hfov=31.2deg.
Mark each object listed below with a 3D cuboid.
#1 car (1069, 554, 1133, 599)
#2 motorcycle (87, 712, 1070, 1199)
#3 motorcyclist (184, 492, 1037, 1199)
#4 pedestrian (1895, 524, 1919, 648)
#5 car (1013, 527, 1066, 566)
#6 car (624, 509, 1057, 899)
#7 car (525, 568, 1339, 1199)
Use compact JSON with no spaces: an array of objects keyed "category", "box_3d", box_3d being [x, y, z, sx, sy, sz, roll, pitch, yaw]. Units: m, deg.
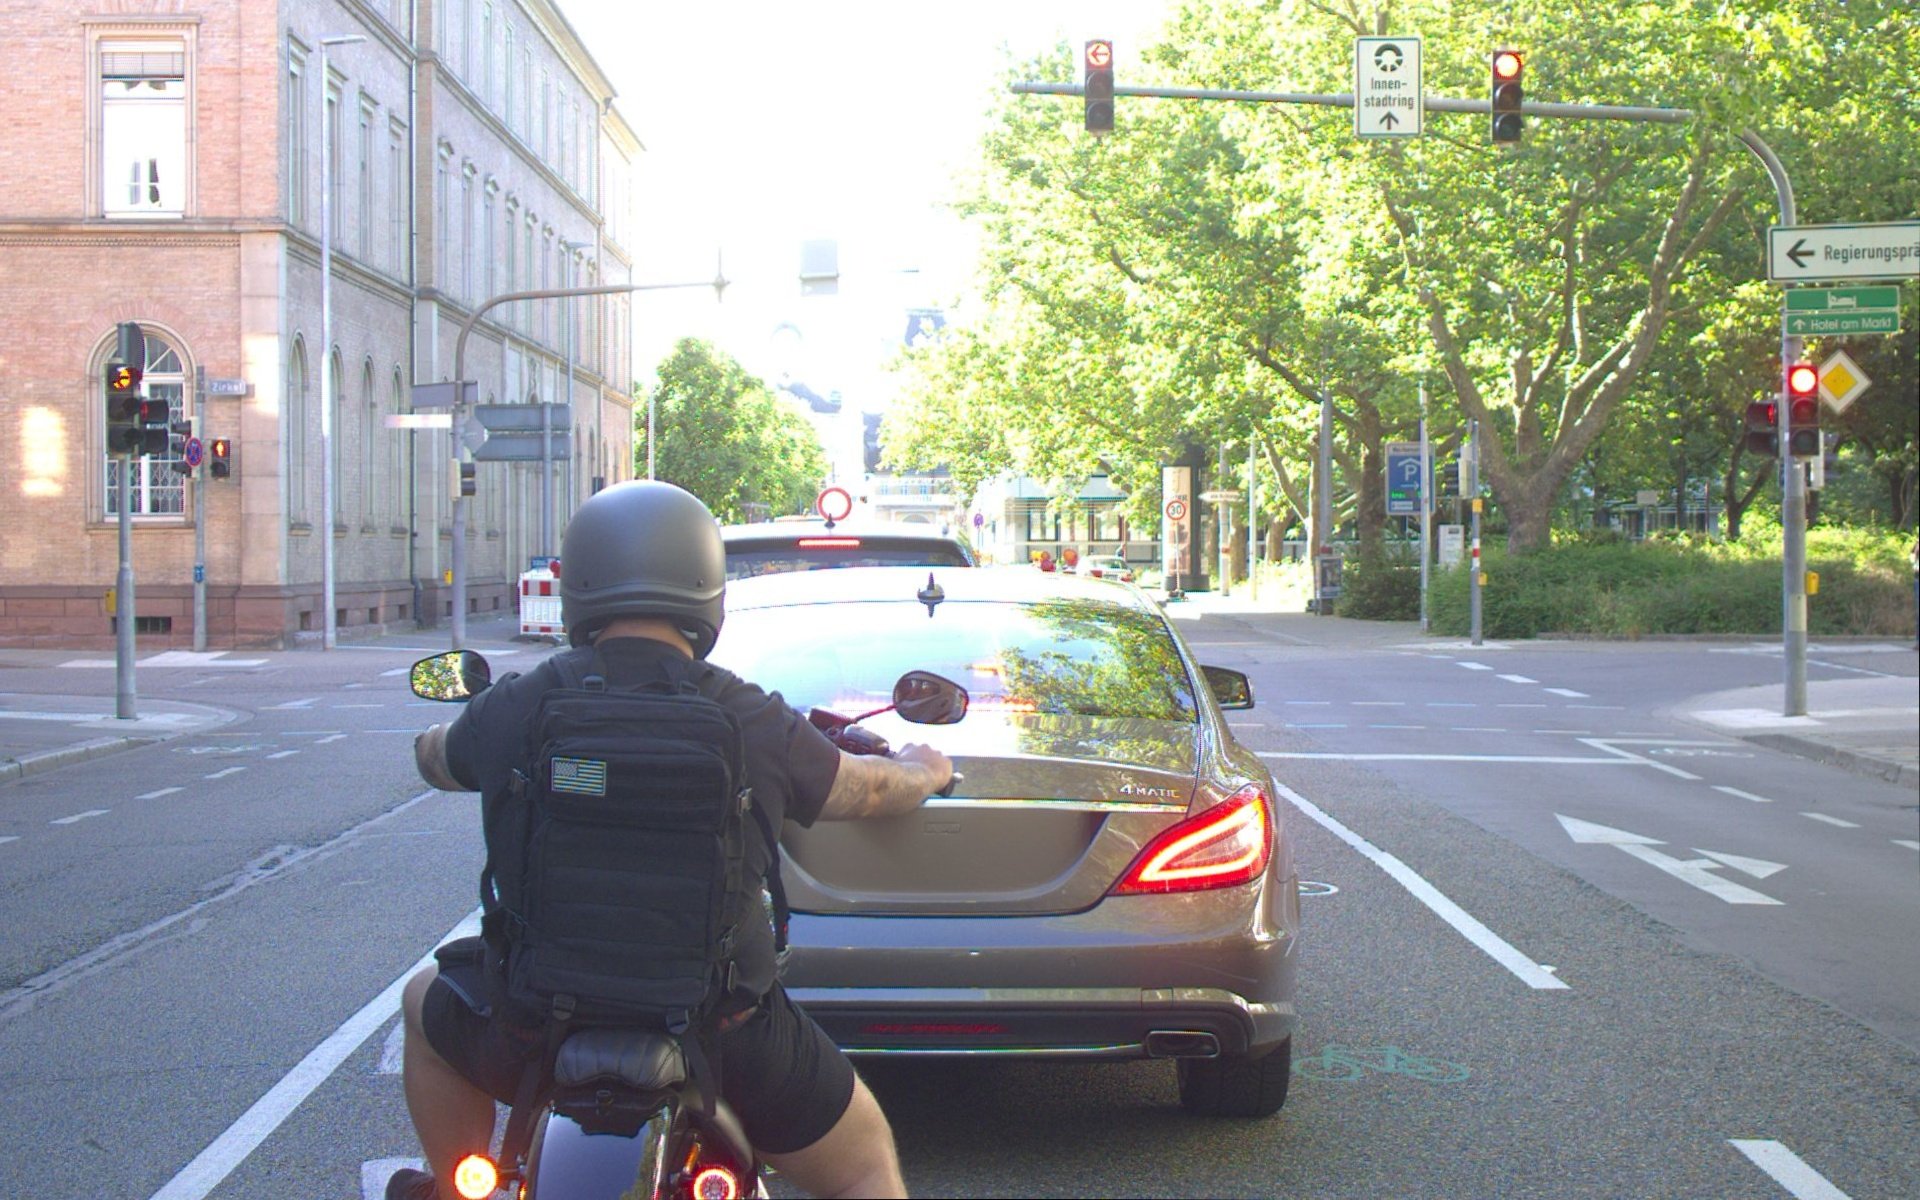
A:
[{"category":"car","box_3d":[4.060,-0.699,99.575,1.631,1.255,3.716,1,1,-1]},{"category":"motorcycle","box_3d":[-0.468,0.836,5.510,1.118,1.203,2.212,1,1,6]},{"category":"motorcyclist","box_3d":[-0.482,0.633,5.286,1.099,1.560,1.071,1,0,6]},{"category":"pedestrian","box_3d":[13.928,-0.200,49.432,0.737,1.772,0.728,1,0,30]},{"category":"car","box_3d":[2.627,-1.763,114.296,1.631,1.255,3.716,1,1,-1]},{"category":"car","box_3d":[-0.543,0.431,16.952,1.863,1.672,4.000,1,1,-1]},{"category":"car","box_3d":[-0.084,0.638,9.674,1.822,1.432,3.806,1,1,-1]}]
